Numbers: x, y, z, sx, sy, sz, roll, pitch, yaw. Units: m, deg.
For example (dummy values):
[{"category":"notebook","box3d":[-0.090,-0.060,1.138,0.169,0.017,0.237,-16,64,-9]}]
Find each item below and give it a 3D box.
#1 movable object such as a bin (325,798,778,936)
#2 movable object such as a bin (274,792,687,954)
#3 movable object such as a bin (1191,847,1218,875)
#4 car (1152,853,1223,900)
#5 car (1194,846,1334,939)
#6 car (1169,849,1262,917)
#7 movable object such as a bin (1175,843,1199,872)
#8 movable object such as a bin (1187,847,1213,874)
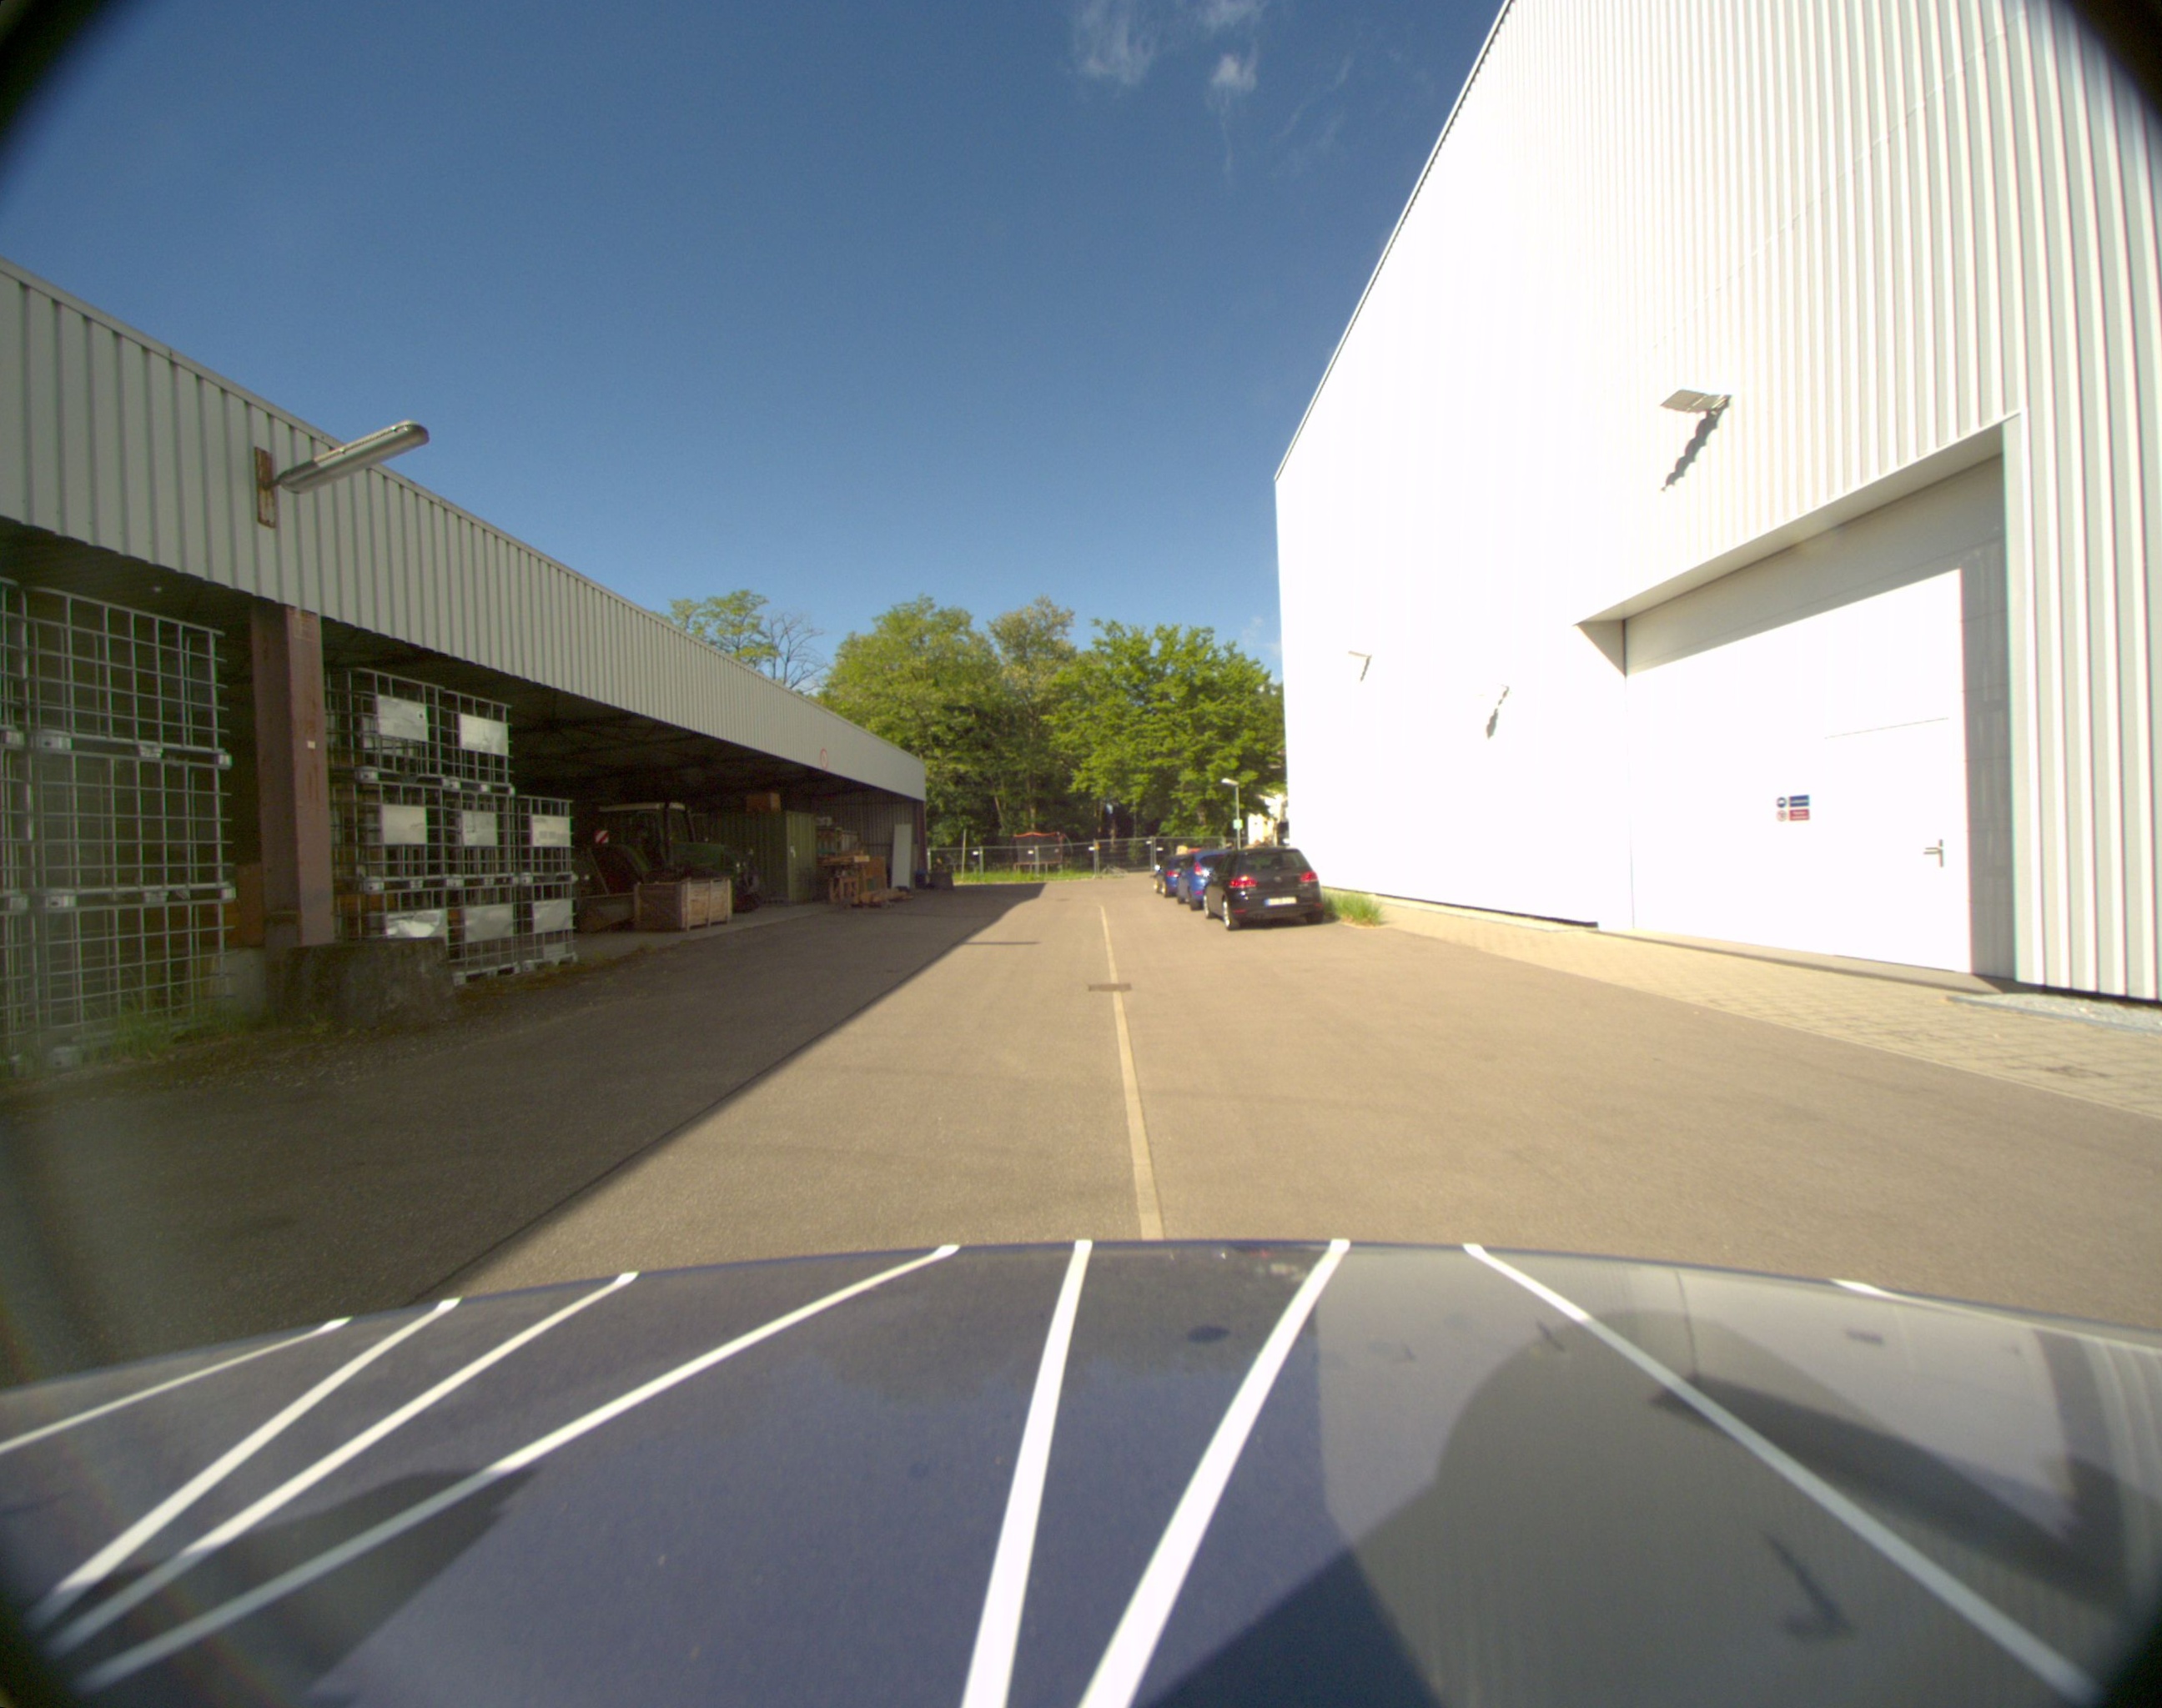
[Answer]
[{"category":"movable object such as a bin","box3d":[-12.982,0.305,19.281,9.214,2.893,3.212,-2,1,2]},{"category":"movable object such as a bin","box3d":[-12.222,0.365,15.966,6.200,2.893,3.016,-2,1,2]},{"category":"movable object such as a bin","box3d":[6.652,0.384,41.005,1.093,1.424,1.230,-4,2,-5]},{"category":"car","box3d":[3.480,0.689,25.558,1.778,1.353,4.053,-3,0,0]},{"category":"car","box3d":[3.466,0.651,15.212,1.759,1.491,4.294,-4,0,1]},{"category":"car","box3d":[3.441,0.668,20.110,1.635,1.491,4.094,-5,0,0]},{"category":"movable object such as a bin","box3d":[6.174,0.201,44.237,1.093,1.588,1.230,-3,3,-5]},{"category":"movable object such as a bin","box3d":[6.630,0.341,42.338,1.093,1.431,1.230,-4,2,-5]}]
